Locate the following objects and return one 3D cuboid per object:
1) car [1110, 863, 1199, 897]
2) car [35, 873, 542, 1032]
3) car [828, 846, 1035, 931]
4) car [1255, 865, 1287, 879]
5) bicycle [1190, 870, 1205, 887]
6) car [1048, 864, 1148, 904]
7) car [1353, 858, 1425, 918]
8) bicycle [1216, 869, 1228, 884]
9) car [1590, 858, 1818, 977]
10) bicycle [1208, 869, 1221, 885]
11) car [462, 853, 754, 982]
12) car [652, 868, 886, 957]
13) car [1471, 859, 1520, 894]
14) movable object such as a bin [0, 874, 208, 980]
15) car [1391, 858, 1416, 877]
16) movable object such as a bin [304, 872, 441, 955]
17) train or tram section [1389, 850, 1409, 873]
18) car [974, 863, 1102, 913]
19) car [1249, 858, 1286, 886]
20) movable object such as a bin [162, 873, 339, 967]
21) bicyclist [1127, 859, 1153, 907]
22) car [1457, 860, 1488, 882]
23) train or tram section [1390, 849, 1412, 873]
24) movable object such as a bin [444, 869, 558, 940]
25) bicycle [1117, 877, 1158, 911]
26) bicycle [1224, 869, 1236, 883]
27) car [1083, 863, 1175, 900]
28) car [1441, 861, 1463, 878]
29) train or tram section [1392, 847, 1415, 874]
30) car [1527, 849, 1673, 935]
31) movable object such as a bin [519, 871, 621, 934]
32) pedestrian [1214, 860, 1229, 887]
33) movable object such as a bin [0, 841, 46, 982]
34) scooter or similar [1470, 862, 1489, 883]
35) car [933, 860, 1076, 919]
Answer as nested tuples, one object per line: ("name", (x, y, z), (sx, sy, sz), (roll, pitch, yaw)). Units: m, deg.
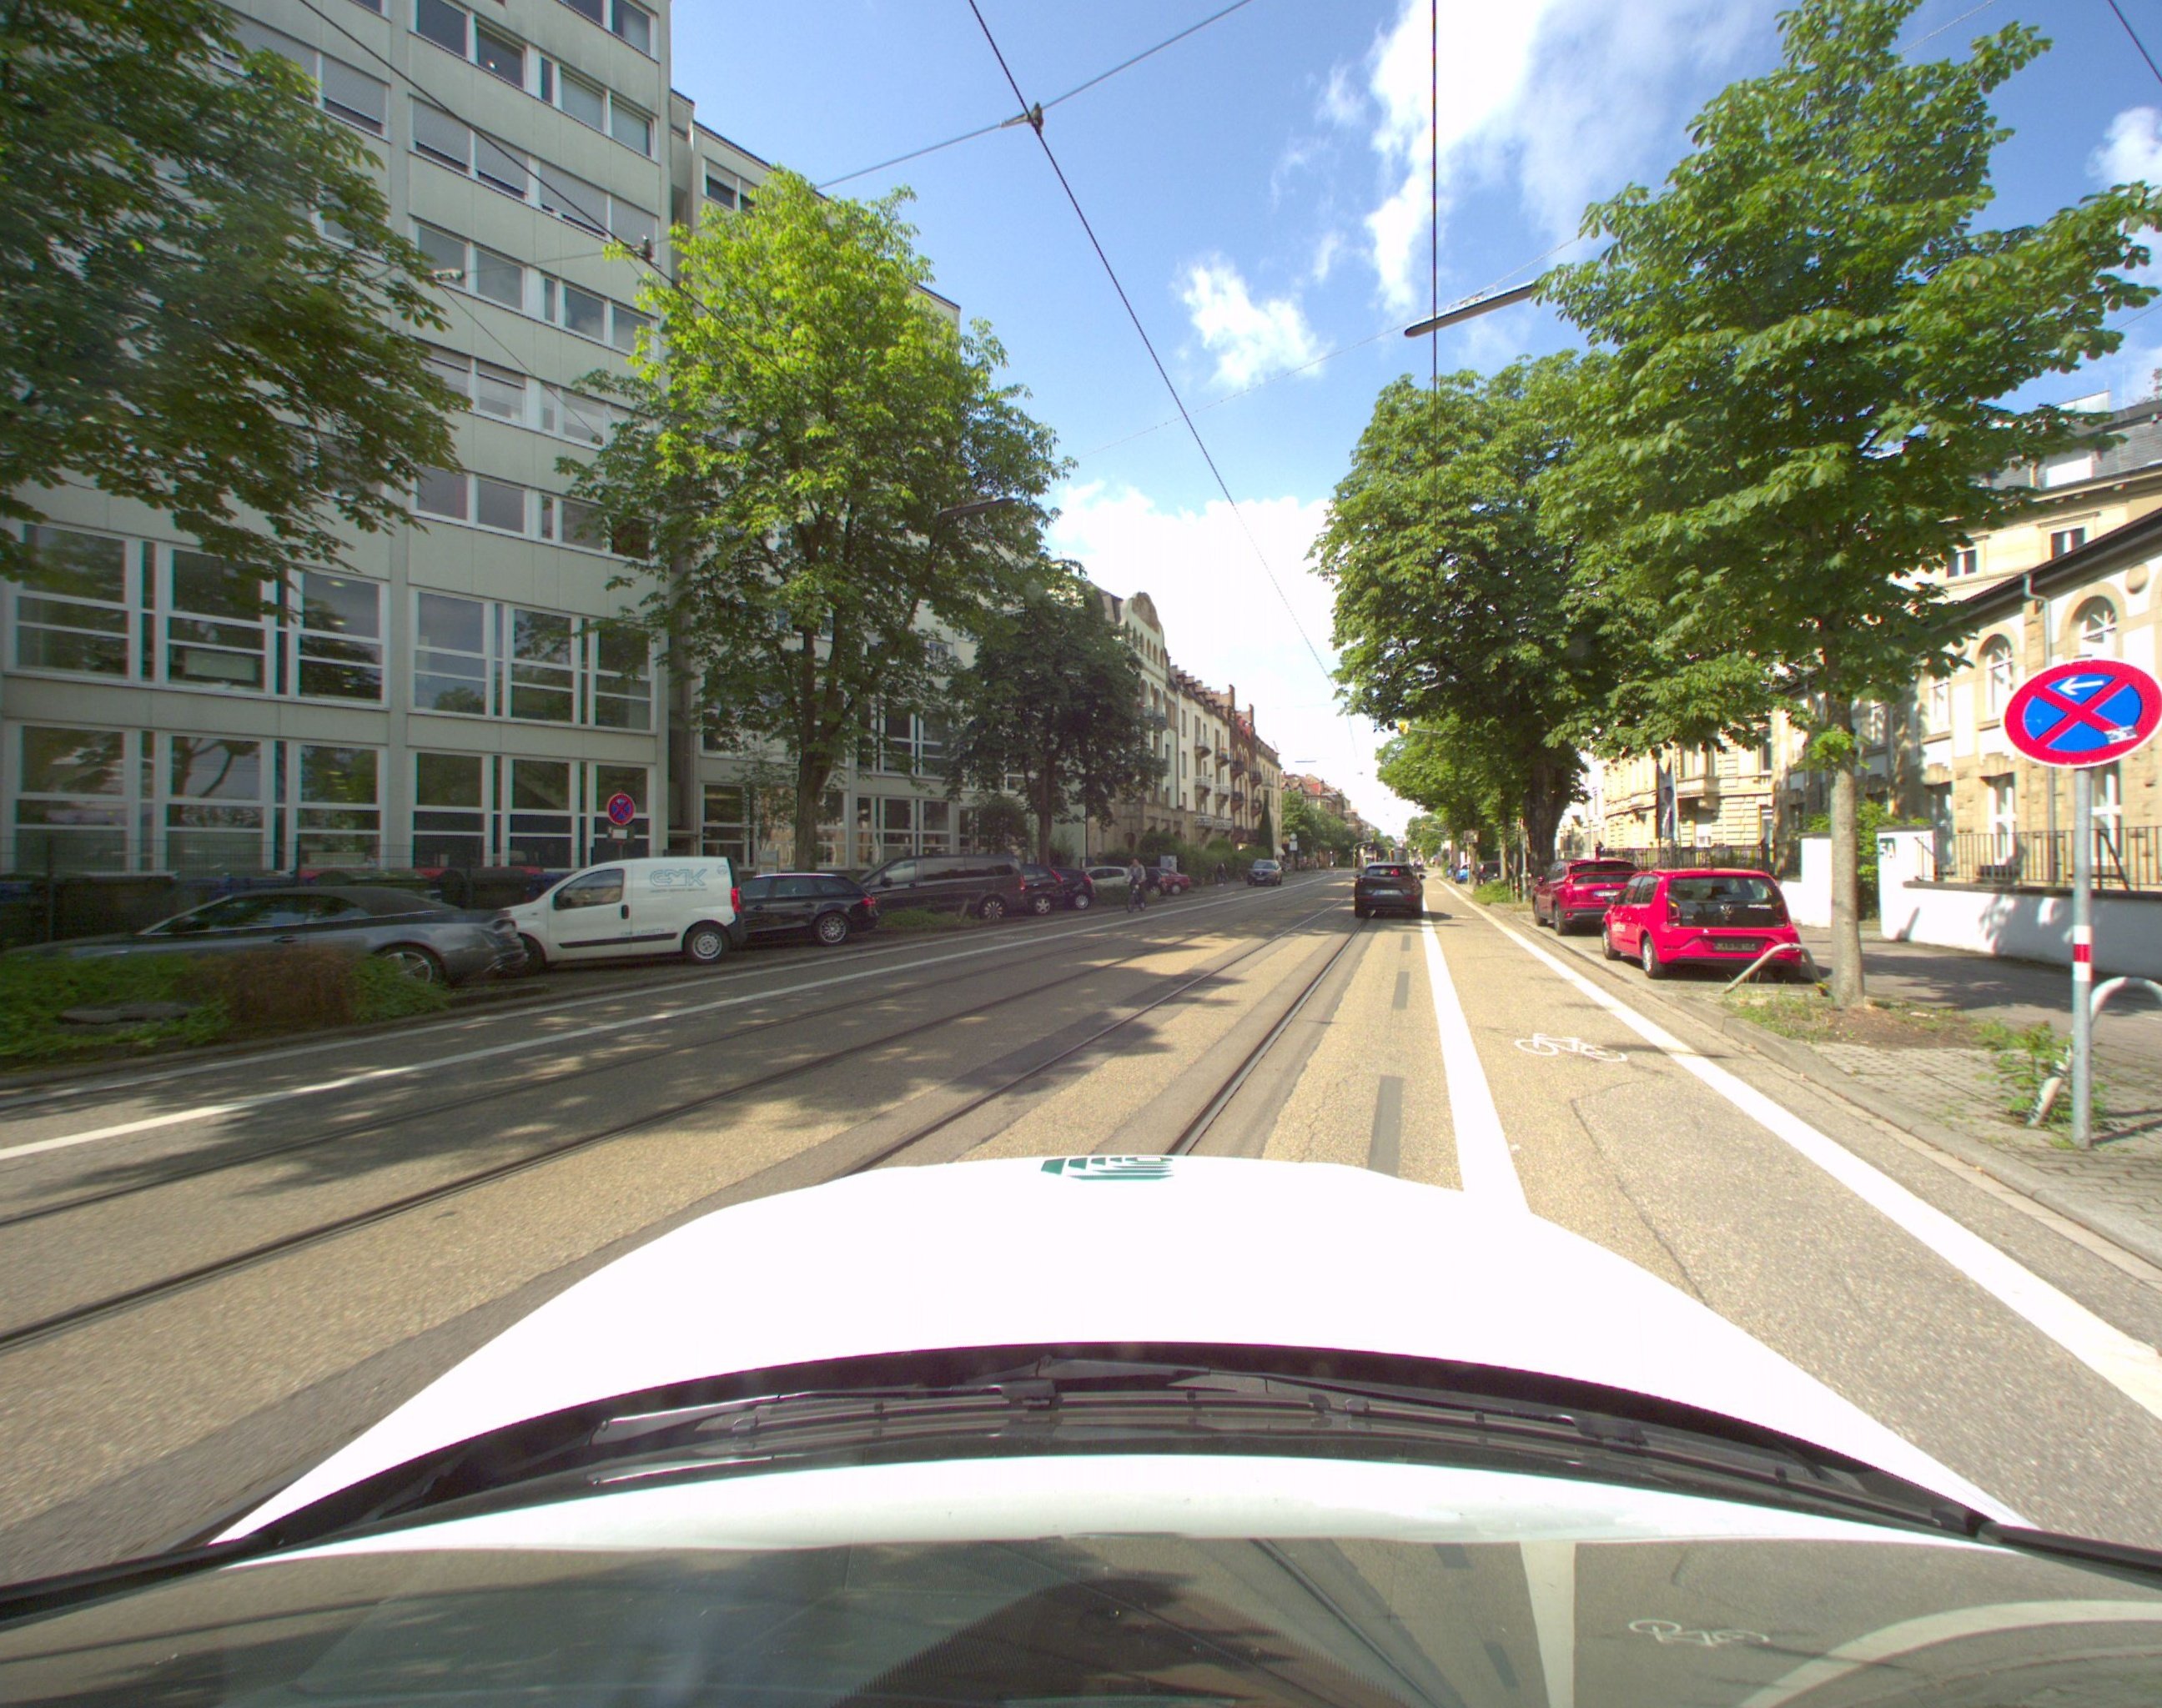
("car", (3.616, 1.280, 40.215), (3.972, 1.484, 1.833), (-2, -2, -21))
("car", (-8.953, 1.030, 9.744), (4.011, 1.418, 1.706), (-2, -2, -30))
("car", (-4.007, 0.882, 21.941), (5.175, 1.954, 1.901), (-2, -2, -24))
("car", (22.043, 2.036, 94.530), (3.207, 1.513, 1.688), (1, -1, 25))
("bicycle", (6.932, 1.426, 48.463), (0.379, 0.959, 1.820), (1, 0, 24))
("car", (0.718, 1.236, 34.335), (3.812, 1.484, 1.684), (-2, -2, -23))
("car", (8.915, 0.901, 23.558), (1.774, 1.512, 4.373), (1, 0, 21))
("bicycle", (9.364, 1.471, 54.047), (0.379, 0.959, 1.820), (1, 0, 24))
("car", (8.799, 0.842, 11.872), (1.586, 1.429, 3.614), (-4, -2, 21))
("bicycle", (8.544, 1.469, 52.110), (0.379, 0.959, 1.820), (1, 0, 24))
("car", (-7.212, 0.912, 12.881), (3.717, 1.693, 1.747), (-2, -2, -22))
("car", (-6.006, 1.078, 15.883), (4.005, 1.418, 1.746), (-2, -2, -24))
("car", (20.423, 1.106, 40.245), (1.682, 1.591, 4.224), (-2, -2, 21))
("movable object such as a bin", (-13.932, 1.003, 11.634), (1.376, 1.364, 1.546), (-4, -2, 18))
("car", (27.055, 1.127, 68.393), (1.770, 1.492, 4.907), (-1, -1, 20))
("movable object such as a bin", (-12.783, 1.045, 14.729), (1.183, 1.380, 1.448), (-4, -2, 19))
("train or tram section", (51.316, 1.263, 131.588), (2.630, 3.528, 8.537), (-1, -1, 19))
("car", (-1.483, 1.150, 27.896), (4.001, 1.484, 1.729), (-2, -2, -21))
("car", (12.409, 1.135, 54.057), (1.770, 1.762, 4.907), (-1, -1, 20))
("movable object such as a bin", (-13.398, 1.038, 13.191), (1.376, 1.364, 1.546), (-4, -2, 18))
("bicyclist", (1.956, 0.961, 26.938), (0.635, 1.577, 0.746), (-1, -2, 22))
("car", (27.657, 1.185, 57.623), (1.626, 1.496, 3.645), (-2, -1, 21))
("train or tram section", (48.477, 1.114, 123.515), (2.630, 3.528, 8.537), (-1, -1, 19))
("movable object such as a bin", (-11.723, 1.004, 16.502), (1.154, 1.327, 1.449), (-4, -2, 21))
("bicycle", (1.881, 1.307, 26.792), (0.649, 1.040, 2.012), (-2, -2, 24))
("bicycle", (10.258, 1.505, 56.004), (0.379, 0.959, 1.932), (1, 0, 24))
("car", (2.189, 1.264, 37.331), (3.805, 1.484, 1.687), (-2, -2, -18))
("car", (33.878, 1.407, 74.453), (1.610, 1.496, 3.868), (-3, -2, 22))
("train or tram section", (45.638, 0.967, 115.411), (2.630, 3.528, 8.537), (-1, -1, 19))
("car", (11.516, 0.798, 18.407), (1.860, 1.676, 4.303), (-2, -1, 20))
("movable object such as a bin", (-11.189, 1.050, 17.881), (1.158, 1.283, 1.449), (-4, -2, 21))
("pedestrian", (8.556, 1.180, 49.642), (0.674, 1.568, 0.887), (1, 0, 24))
("movable object such as a bin", (-14.479, 0.762, 10.161), (1.376, 1.782, 1.546), (-4, -2, 18))
("scooter or similar", (25.018, 1.136, 51.177), (0.440, 1.299, 1.179), (-3, 0, -8))
("car", (-2.356, 1.064, 25.019), (4.003, 1.593, 1.728), (-2, -2, -23))
